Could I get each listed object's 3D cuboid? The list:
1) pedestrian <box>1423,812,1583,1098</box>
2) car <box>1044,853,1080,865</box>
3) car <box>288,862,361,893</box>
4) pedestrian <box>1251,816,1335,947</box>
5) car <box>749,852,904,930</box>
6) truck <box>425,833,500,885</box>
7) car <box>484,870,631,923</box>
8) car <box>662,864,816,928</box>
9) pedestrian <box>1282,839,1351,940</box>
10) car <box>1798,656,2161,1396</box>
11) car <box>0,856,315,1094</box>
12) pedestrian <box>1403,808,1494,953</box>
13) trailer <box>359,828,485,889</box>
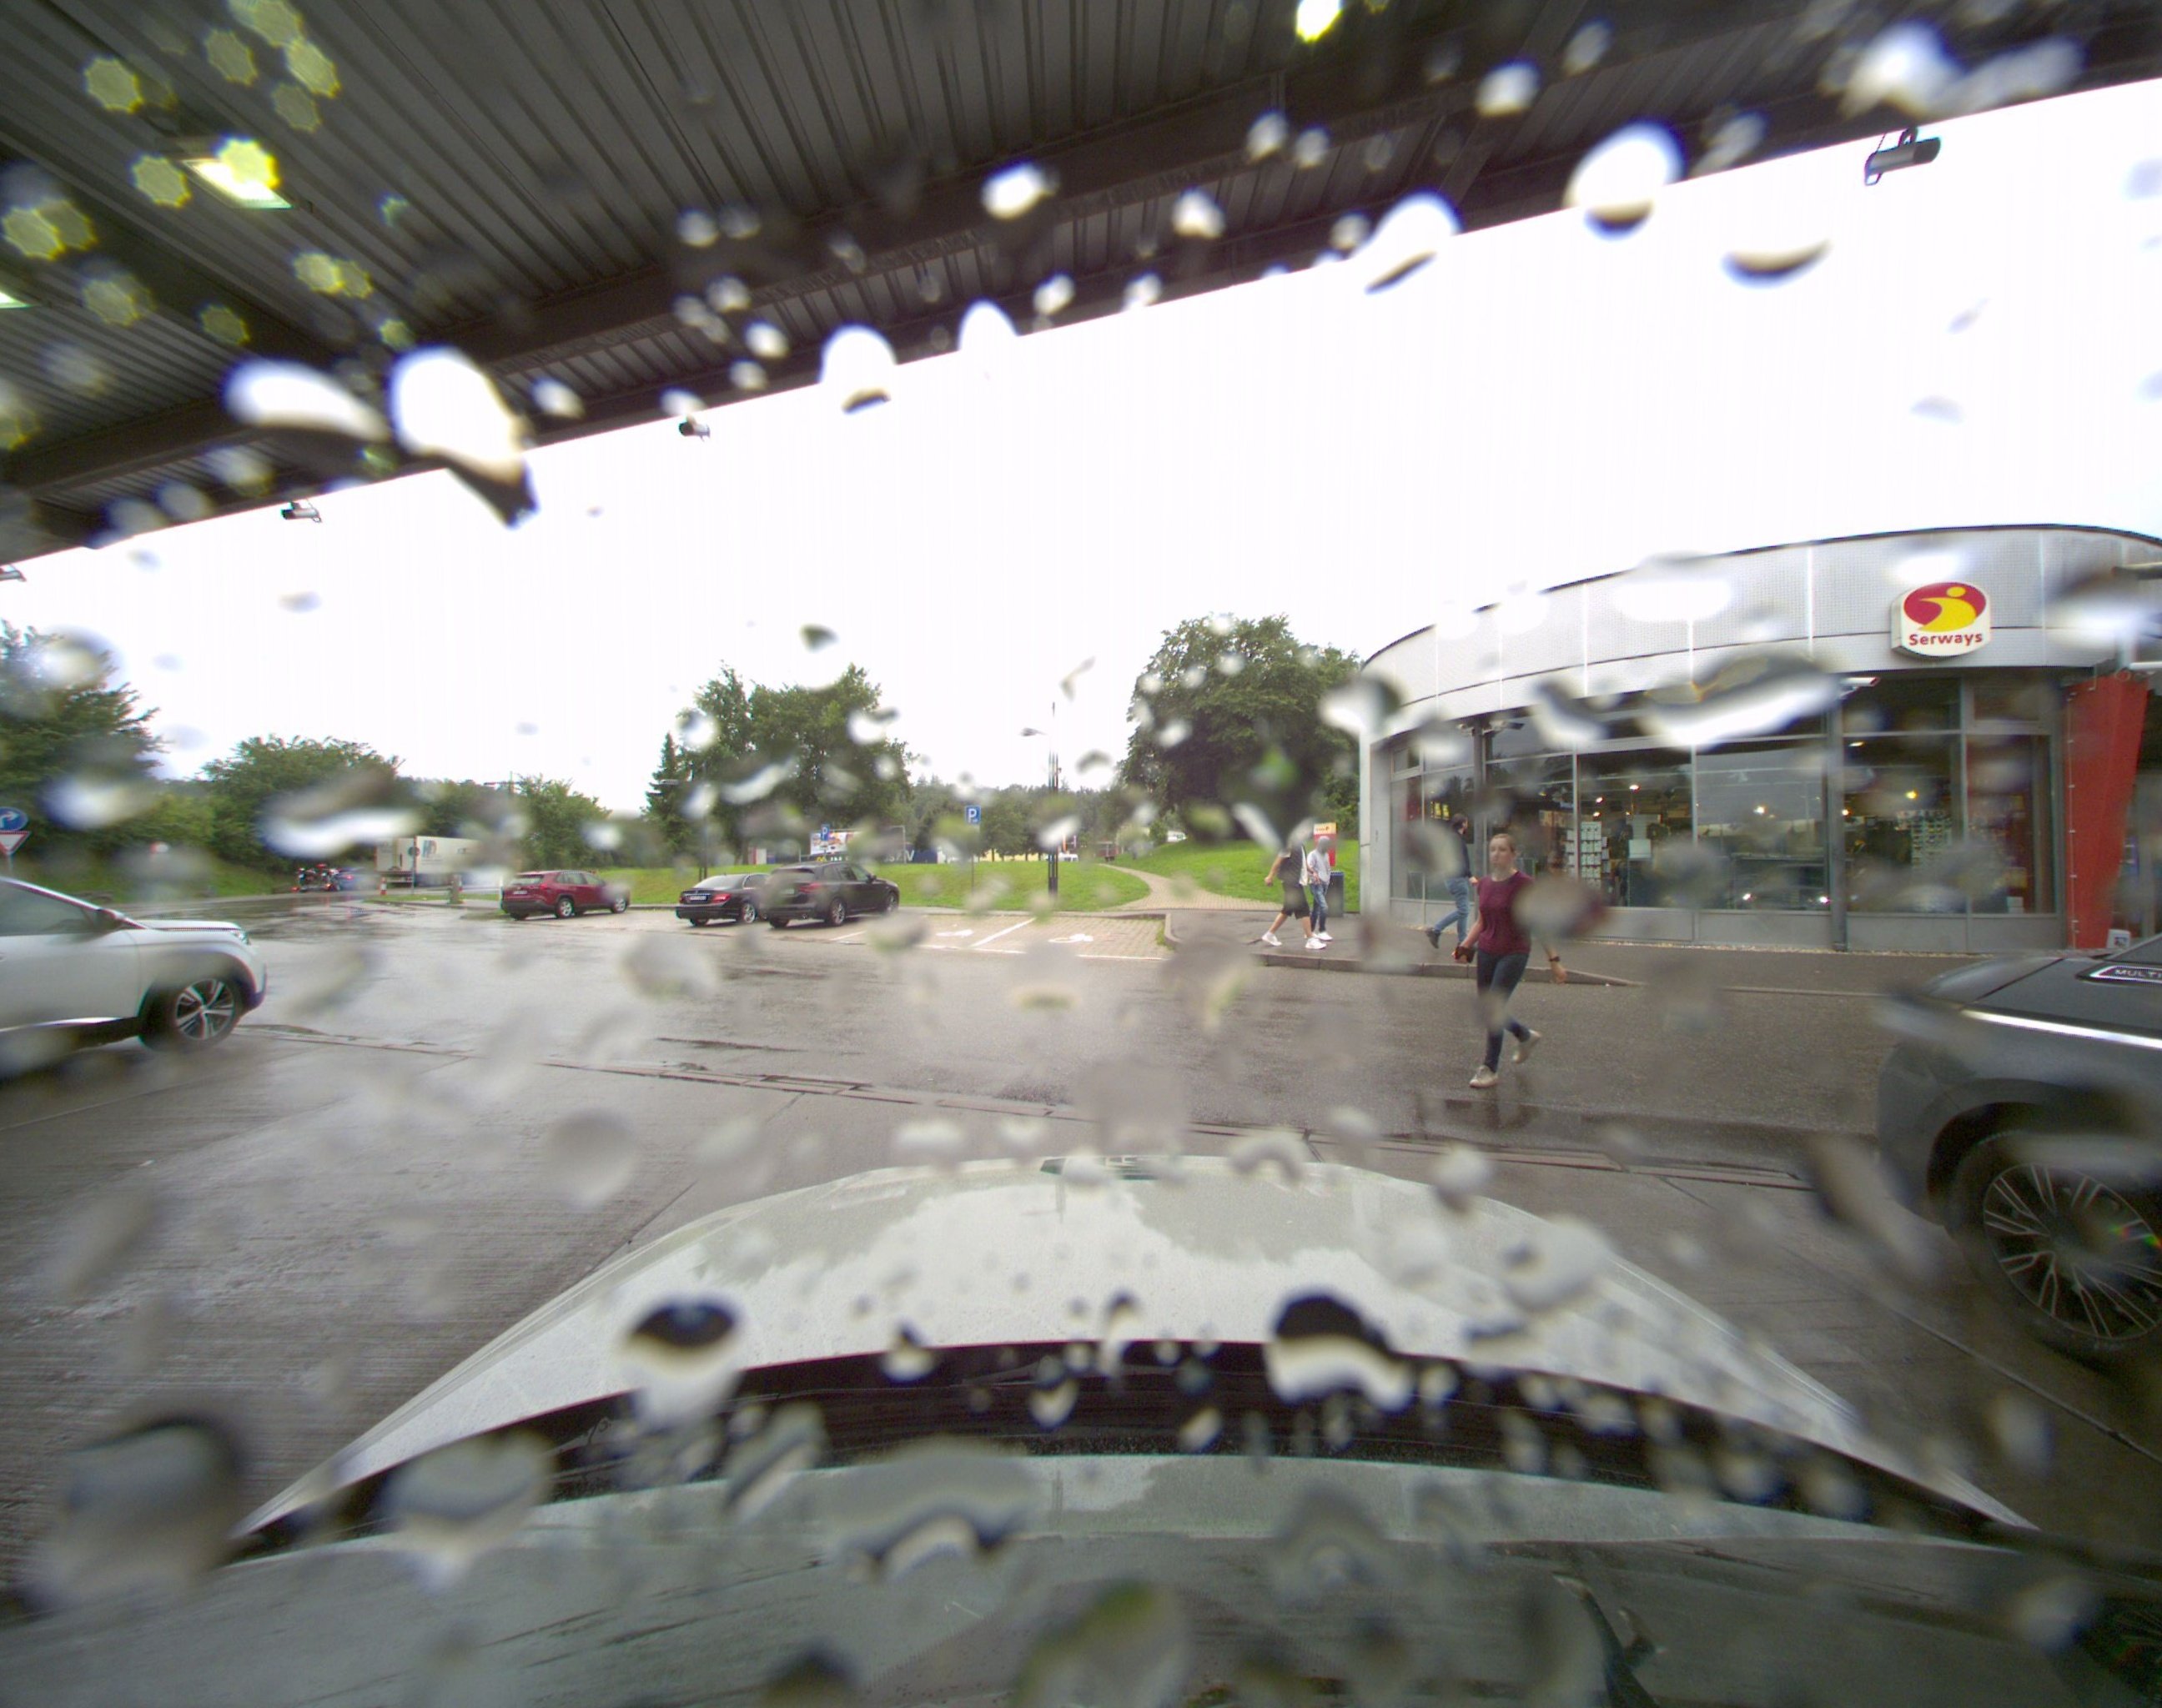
[{"bbox_3d":[2.868,0.616,5.516,0.786,1.734,0.845,-2,-1,37],"label":"pedestrian"},{"bbox_3d":[-3.169,0.802,134.084,5.376,2.013,2.468,-1,0,21],"label":"car"},{"bbox_3d":[-49.233,1.501,53.135,1.934,1.838,4.361,-1,0,-20],"label":"car"},{"bbox_3d":[3.142,0.392,12.056,0.963,1.848,0.778,-2,0,30],"label":"pedestrian"},{"bbox_3d":[-6.615,0.887,21.747,1.871,1.828,4.429,-2,0,13],"label":"car"},{"bbox_3d":[-57.102,0.490,75.432,3.467,4.557,6.694,0,-1,-18],"label":"truck"},{"bbox_3d":[-18.157,1.413,28.529,1.873,1.596,4.364,-2,0,8],"label":"car"},{"bbox_3d":[-9.616,1.136,23.304,1.871,1.565,4.200,-2,0,13],"label":"car"},{"bbox_3d":[3.792,0.552,13.083,0.880,1.550,0.665,-2,0,31],"label":"pedestrian"},{"bbox_3d":[3.715,0.446,1.235,1.809,1.948,4.002,-1,0,2],"label":"car"},{"bbox_3d":[-8.010,0.801,5.111,1.810,1.565,4.999,0,0,-2],"label":"car"},{"bbox_3d":[4.984,0.348,11.031,0.989,1.864,0.804,-2,0,30],"label":"pedestrian"},{"bbox_3d":[-54.881,0.417,68.491,3.466,4.557,13.827,0,-1,-18],"label":"trailer"}]
